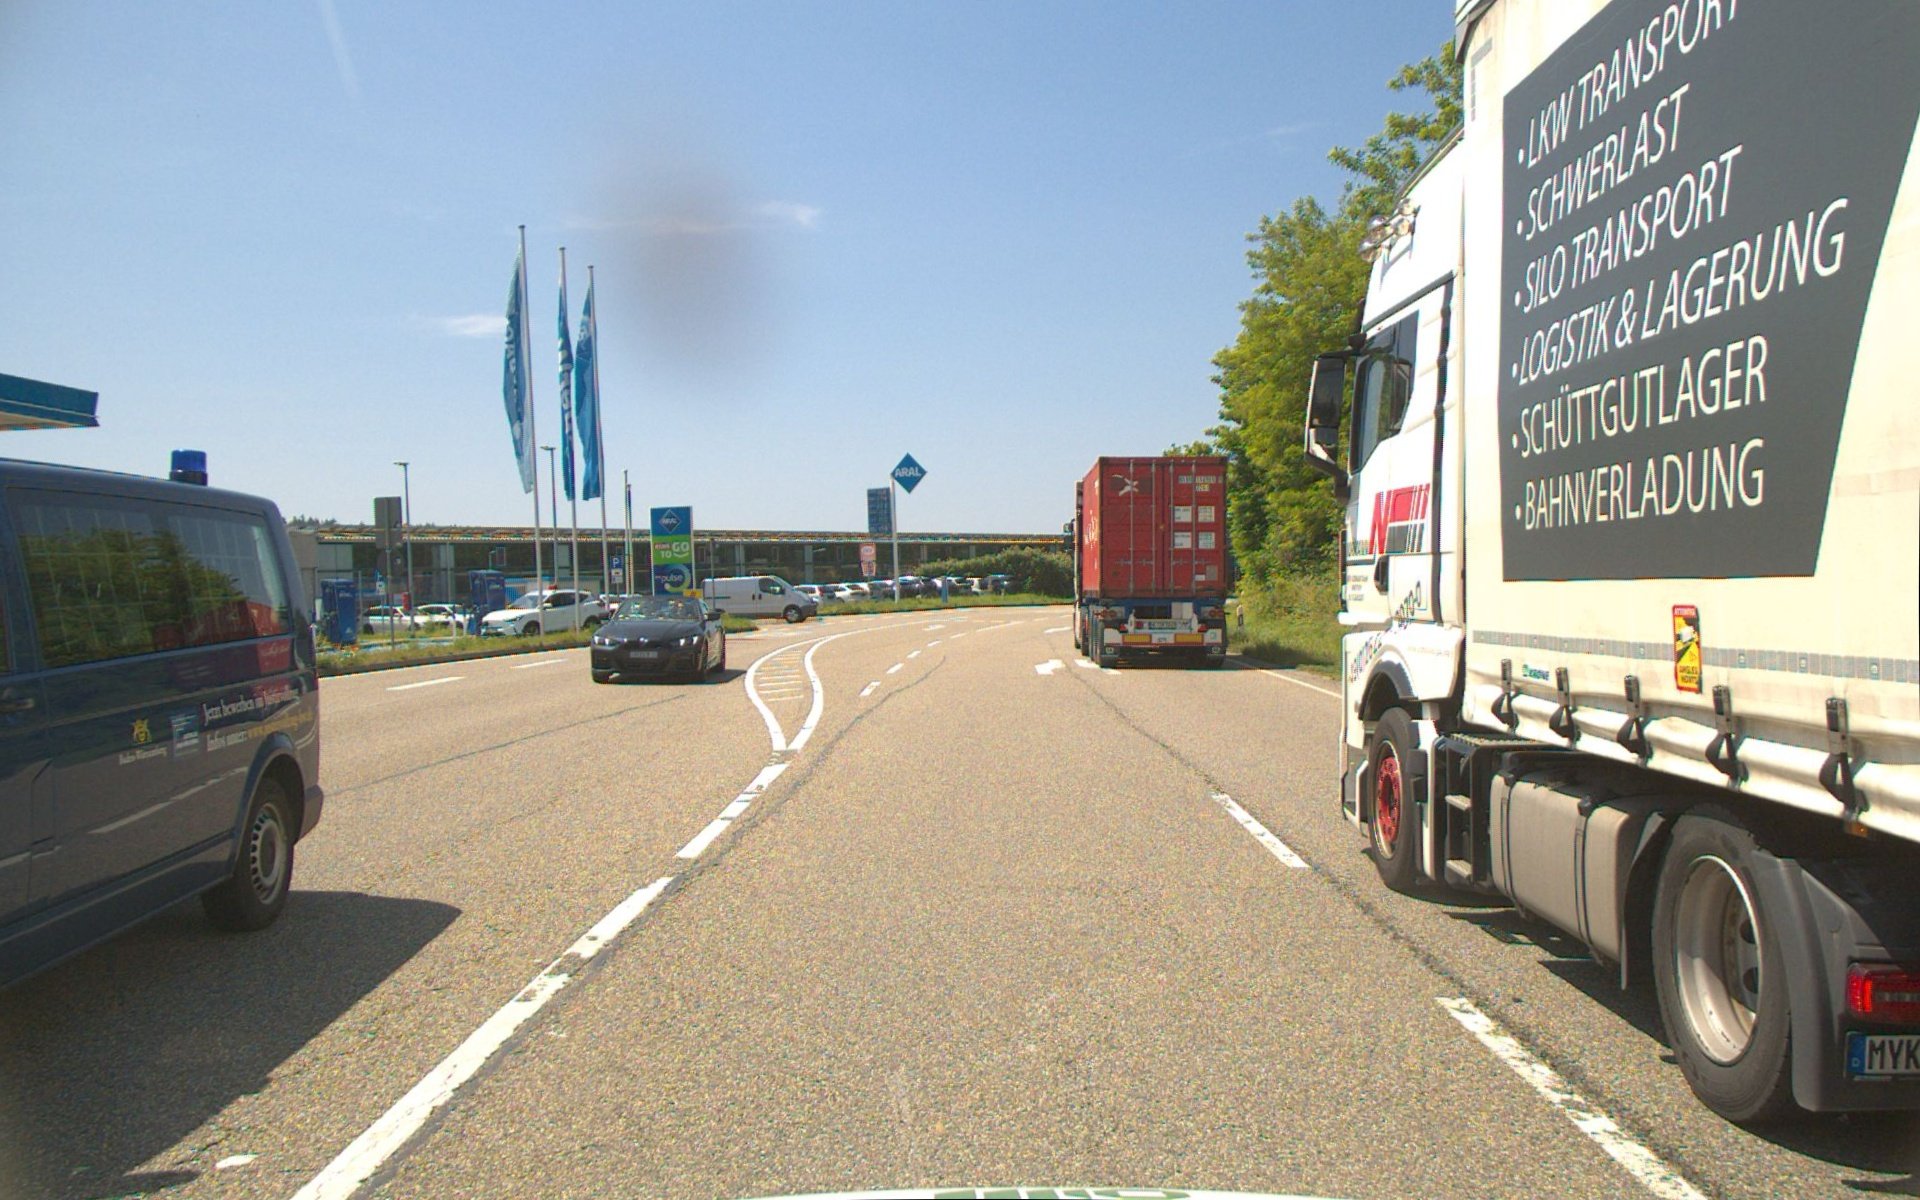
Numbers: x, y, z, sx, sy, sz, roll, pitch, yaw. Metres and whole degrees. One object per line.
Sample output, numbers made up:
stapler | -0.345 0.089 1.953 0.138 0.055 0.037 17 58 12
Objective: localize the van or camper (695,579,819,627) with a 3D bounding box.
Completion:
van or camper | -8.300 0.142 67.831 4.746 1.938 1.905 0 -1 3

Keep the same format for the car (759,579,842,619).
car | -8.373 -0.070 86.921 3.910 2.049 1.997 -1 0 28

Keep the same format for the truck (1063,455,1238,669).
truck | 3.939 -0.776 37.258 2.593 3.872 13.362 2 1 1

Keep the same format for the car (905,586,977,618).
car | -1.145 0.135 100.516 3.912 1.780 1.997 -2 0 29

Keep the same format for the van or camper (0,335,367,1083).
van or camper | -3.747 0.313 5.656 1.800 2.175 5.339 0 0 -4

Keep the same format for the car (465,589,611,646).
car | -13.433 0.563 52.919 1.830 1.742 4.505 0 -1 33

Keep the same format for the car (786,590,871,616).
car | -7.050 0.150 88.907 4.155 1.383 1.997 0 0 28

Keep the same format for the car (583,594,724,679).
car | -5.009 0.586 27.563 1.812 1.293 4.173 0 -1 -4

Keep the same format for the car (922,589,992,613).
car | -0.208 0.090 102.768 3.909 1.340 1.831 -2 0 27

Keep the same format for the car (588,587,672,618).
car | -17.845 0.150 89.482 4.043 1.530 1.998 -2 0 27

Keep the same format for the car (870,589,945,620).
car | -3.032 0.287 95.767 3.912 1.780 1.996 0 -1 30

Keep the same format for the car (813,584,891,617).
car | -5.972 0.027 91.675 3.912 1.780 1.931 -1 0 30

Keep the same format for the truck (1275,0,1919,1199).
truck | 3.436 -0.687 1.429 2.912 4.165 17.632 0 0 0

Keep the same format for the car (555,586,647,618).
car | -19.028 0.128 87.613 4.490 1.530 1.998 -2 0 27
